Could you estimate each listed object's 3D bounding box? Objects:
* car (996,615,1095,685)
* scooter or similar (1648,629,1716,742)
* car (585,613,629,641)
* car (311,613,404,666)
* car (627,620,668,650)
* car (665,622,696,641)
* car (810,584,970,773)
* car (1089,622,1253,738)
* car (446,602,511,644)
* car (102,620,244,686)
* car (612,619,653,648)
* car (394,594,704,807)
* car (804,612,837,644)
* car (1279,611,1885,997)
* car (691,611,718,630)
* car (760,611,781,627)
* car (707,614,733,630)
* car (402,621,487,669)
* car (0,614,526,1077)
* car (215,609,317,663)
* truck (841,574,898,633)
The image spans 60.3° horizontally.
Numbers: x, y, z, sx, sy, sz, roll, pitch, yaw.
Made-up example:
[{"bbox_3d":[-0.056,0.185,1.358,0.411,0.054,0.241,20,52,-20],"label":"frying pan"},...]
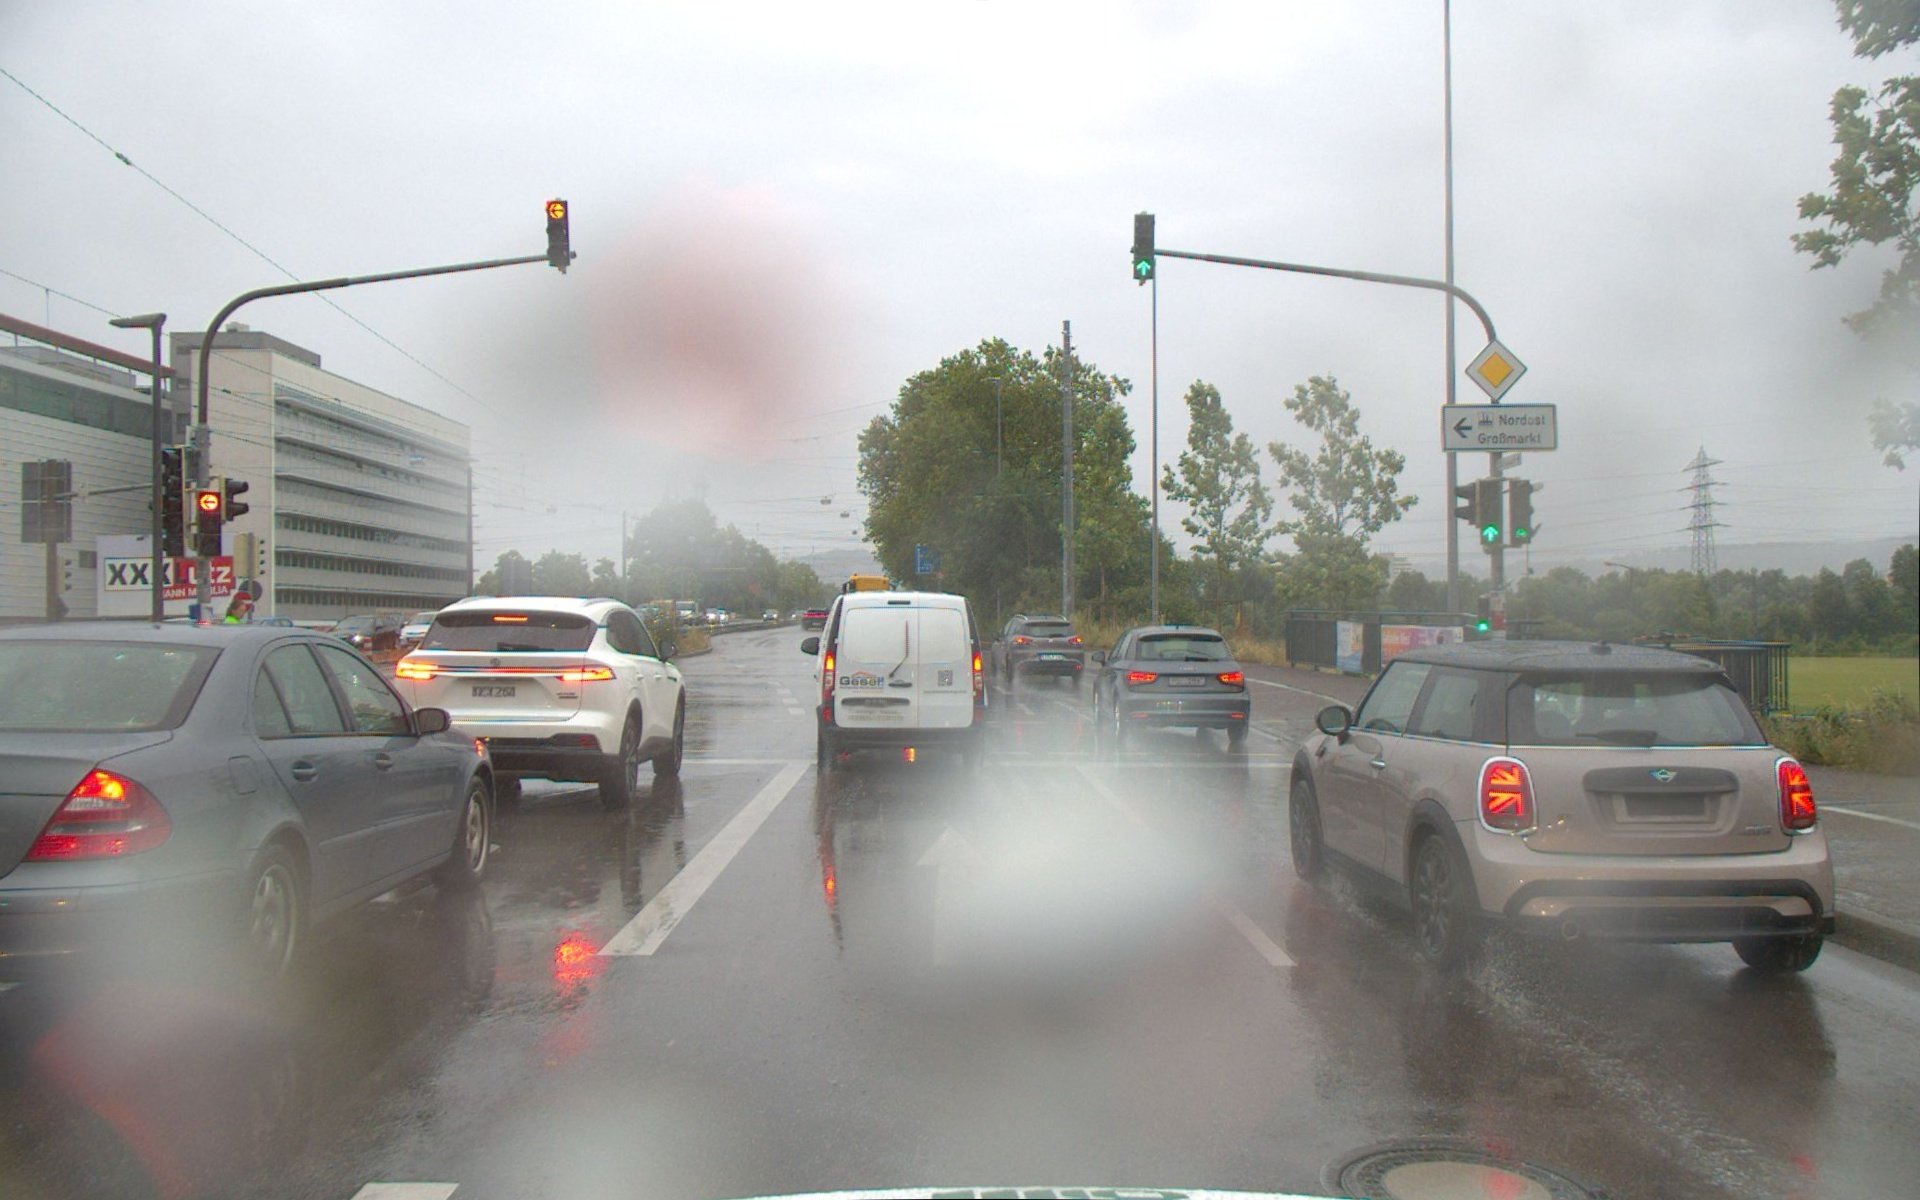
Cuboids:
[{"bbox_3d":[1.880,1.088,37.382,1.822,1.454,3.804,1,0,-3],"label":"car"},{"bbox_3d":[7.824,0.907,17.950,0.240,1.178,1.186,1,-1,1],"label":"scooter or similar"},{"bbox_3d":[-20.982,1.613,98.526,1.727,1.577,3.680,1,-1,1],"label":"car"},{"bbox_3d":[-21.610,1.449,59.497,1.807,1.829,3.999,0,-3,1],"label":"car"},{"bbox_3d":[-21.638,2.447,114.786,1.952,2.049,4.000,1,-1,1],"label":"car"},{"bbox_3d":[-25.228,2.867,149.370,1.952,1.692,4.000,1,-1,1],"label":"car"},{"bbox_3d":[-0.683,0.802,18.032,1.534,1.819,3.999,0,-1,0],"label":"car"},{"bbox_3d":[2.671,1.002,21.666,1.596,1.368,3.622,1,-1,-1],"label":"car"},{"bbox_3d":[-24.732,1.208,85.066,1.952,2.049,4.001,1,-1,2],"label":"car"},{"bbox_3d":[-22.062,1.476,46.537,1.853,1.729,4.001,1,-1,4],"label":"car"},{"bbox_3d":[-21.247,2.192,107.368,1.786,1.839,3.769,1,-1,1],"label":"car"},{"bbox_3d":[-3.388,0.762,14.463,1.694,1.562,4.296,1,0,-1],"label":"car"},{"bbox_3d":[-8.749,1.761,103.649,1.955,1.892,3.994,1,-1,-7],"label":"car"},{"bbox_3d":[2.871,0.851,8.495,1.678,1.534,3.622,1,-1,-1],"label":"car"},{"bbox_3d":[-25.362,2.052,164.126,1.952,1.738,4.000,1,-1,1],"label":"car"},{"bbox_3d":[-22.881,2.293,199.725,1.952,1.788,4.000,1,-1,1],"label":"car"},{"bbox_3d":[-24.909,2.308,171.676,1.952,1.614,4.000,1,-1,1],"label":"car"},{"bbox_3d":[-20.894,1.837,67.189,1.889,1.859,4.002,1,-1,4],"label":"car"},{"bbox_3d":[-3.396,0.812,7.429,1.726,1.423,4.643,1,-2,-1],"label":"car"},{"bbox_3d":[-24.257,1.302,57.900,1.693,1.690,3.538,1,-4,7],"label":"car"},{"bbox_3d":[-4.569,0.257,84.660,2.579,2.866,7.143,1,-1,-1],"label":"truck"}]
